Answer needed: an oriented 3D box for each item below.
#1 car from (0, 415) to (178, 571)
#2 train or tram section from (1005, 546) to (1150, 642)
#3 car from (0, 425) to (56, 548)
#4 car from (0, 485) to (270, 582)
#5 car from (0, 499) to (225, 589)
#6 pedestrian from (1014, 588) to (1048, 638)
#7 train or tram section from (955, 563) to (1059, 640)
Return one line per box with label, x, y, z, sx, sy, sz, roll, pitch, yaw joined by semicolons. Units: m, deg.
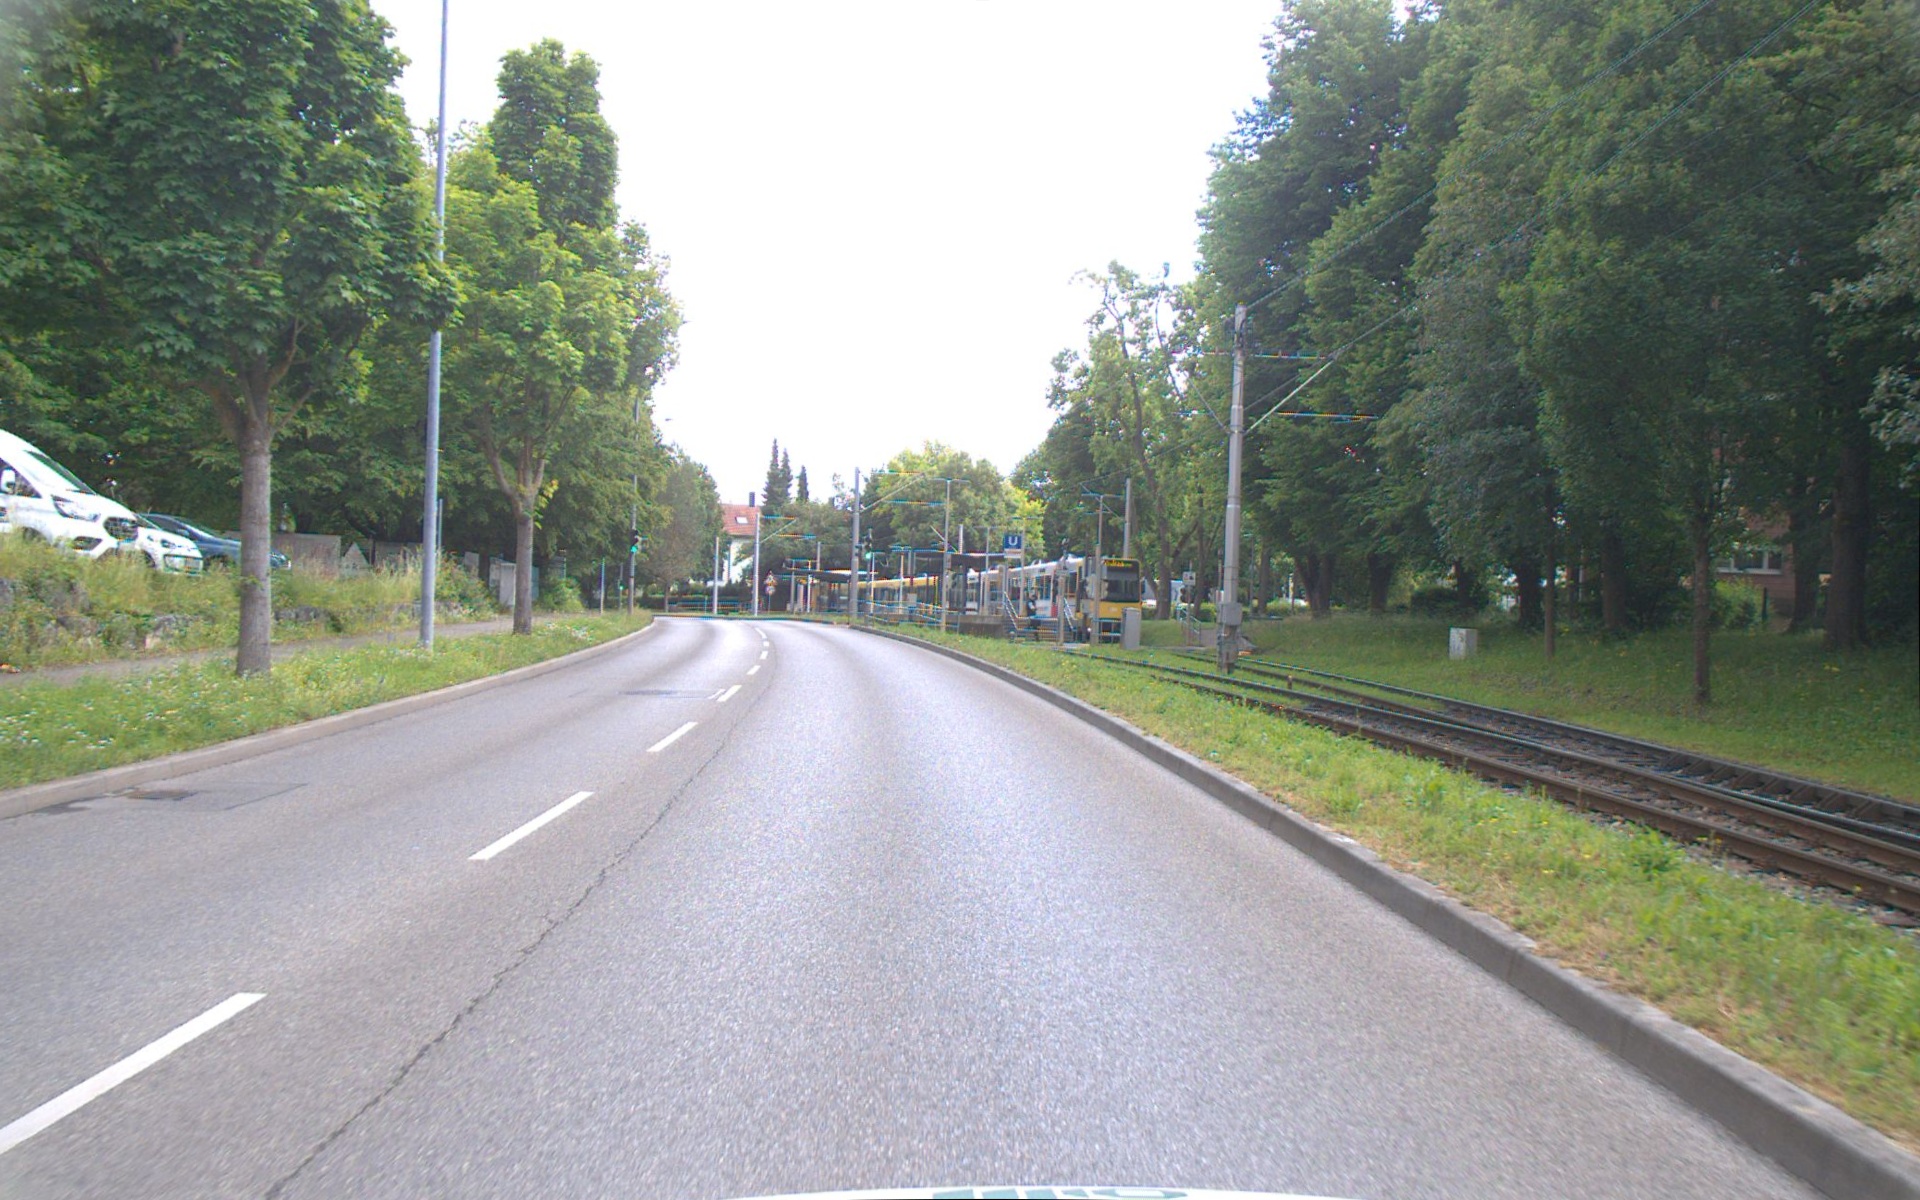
car;-14.747;-1.620;24.628;5.053;2.143;2.213;3;0;-3
train or tram section;5.060;-0.116;76.526;2.761;3.802;18.496;3;-1;-8
car;-14.968;-1.604;21.807;4.890;1.575;2.098;3;0;2
car;-16.008;-1.250;31.255;5.053;1.588;1.885;3;0;-3
car;-14.842;-0.947;27.717;4.290;1.339;1.562;3;0;-3
pedestrian;2.611;0.485;60.939;0.969;1.788;0.726;3;0;-18
train or tram section;2.427;0.217;95.146;2.761;3.865;18.897;3;-1;-8
